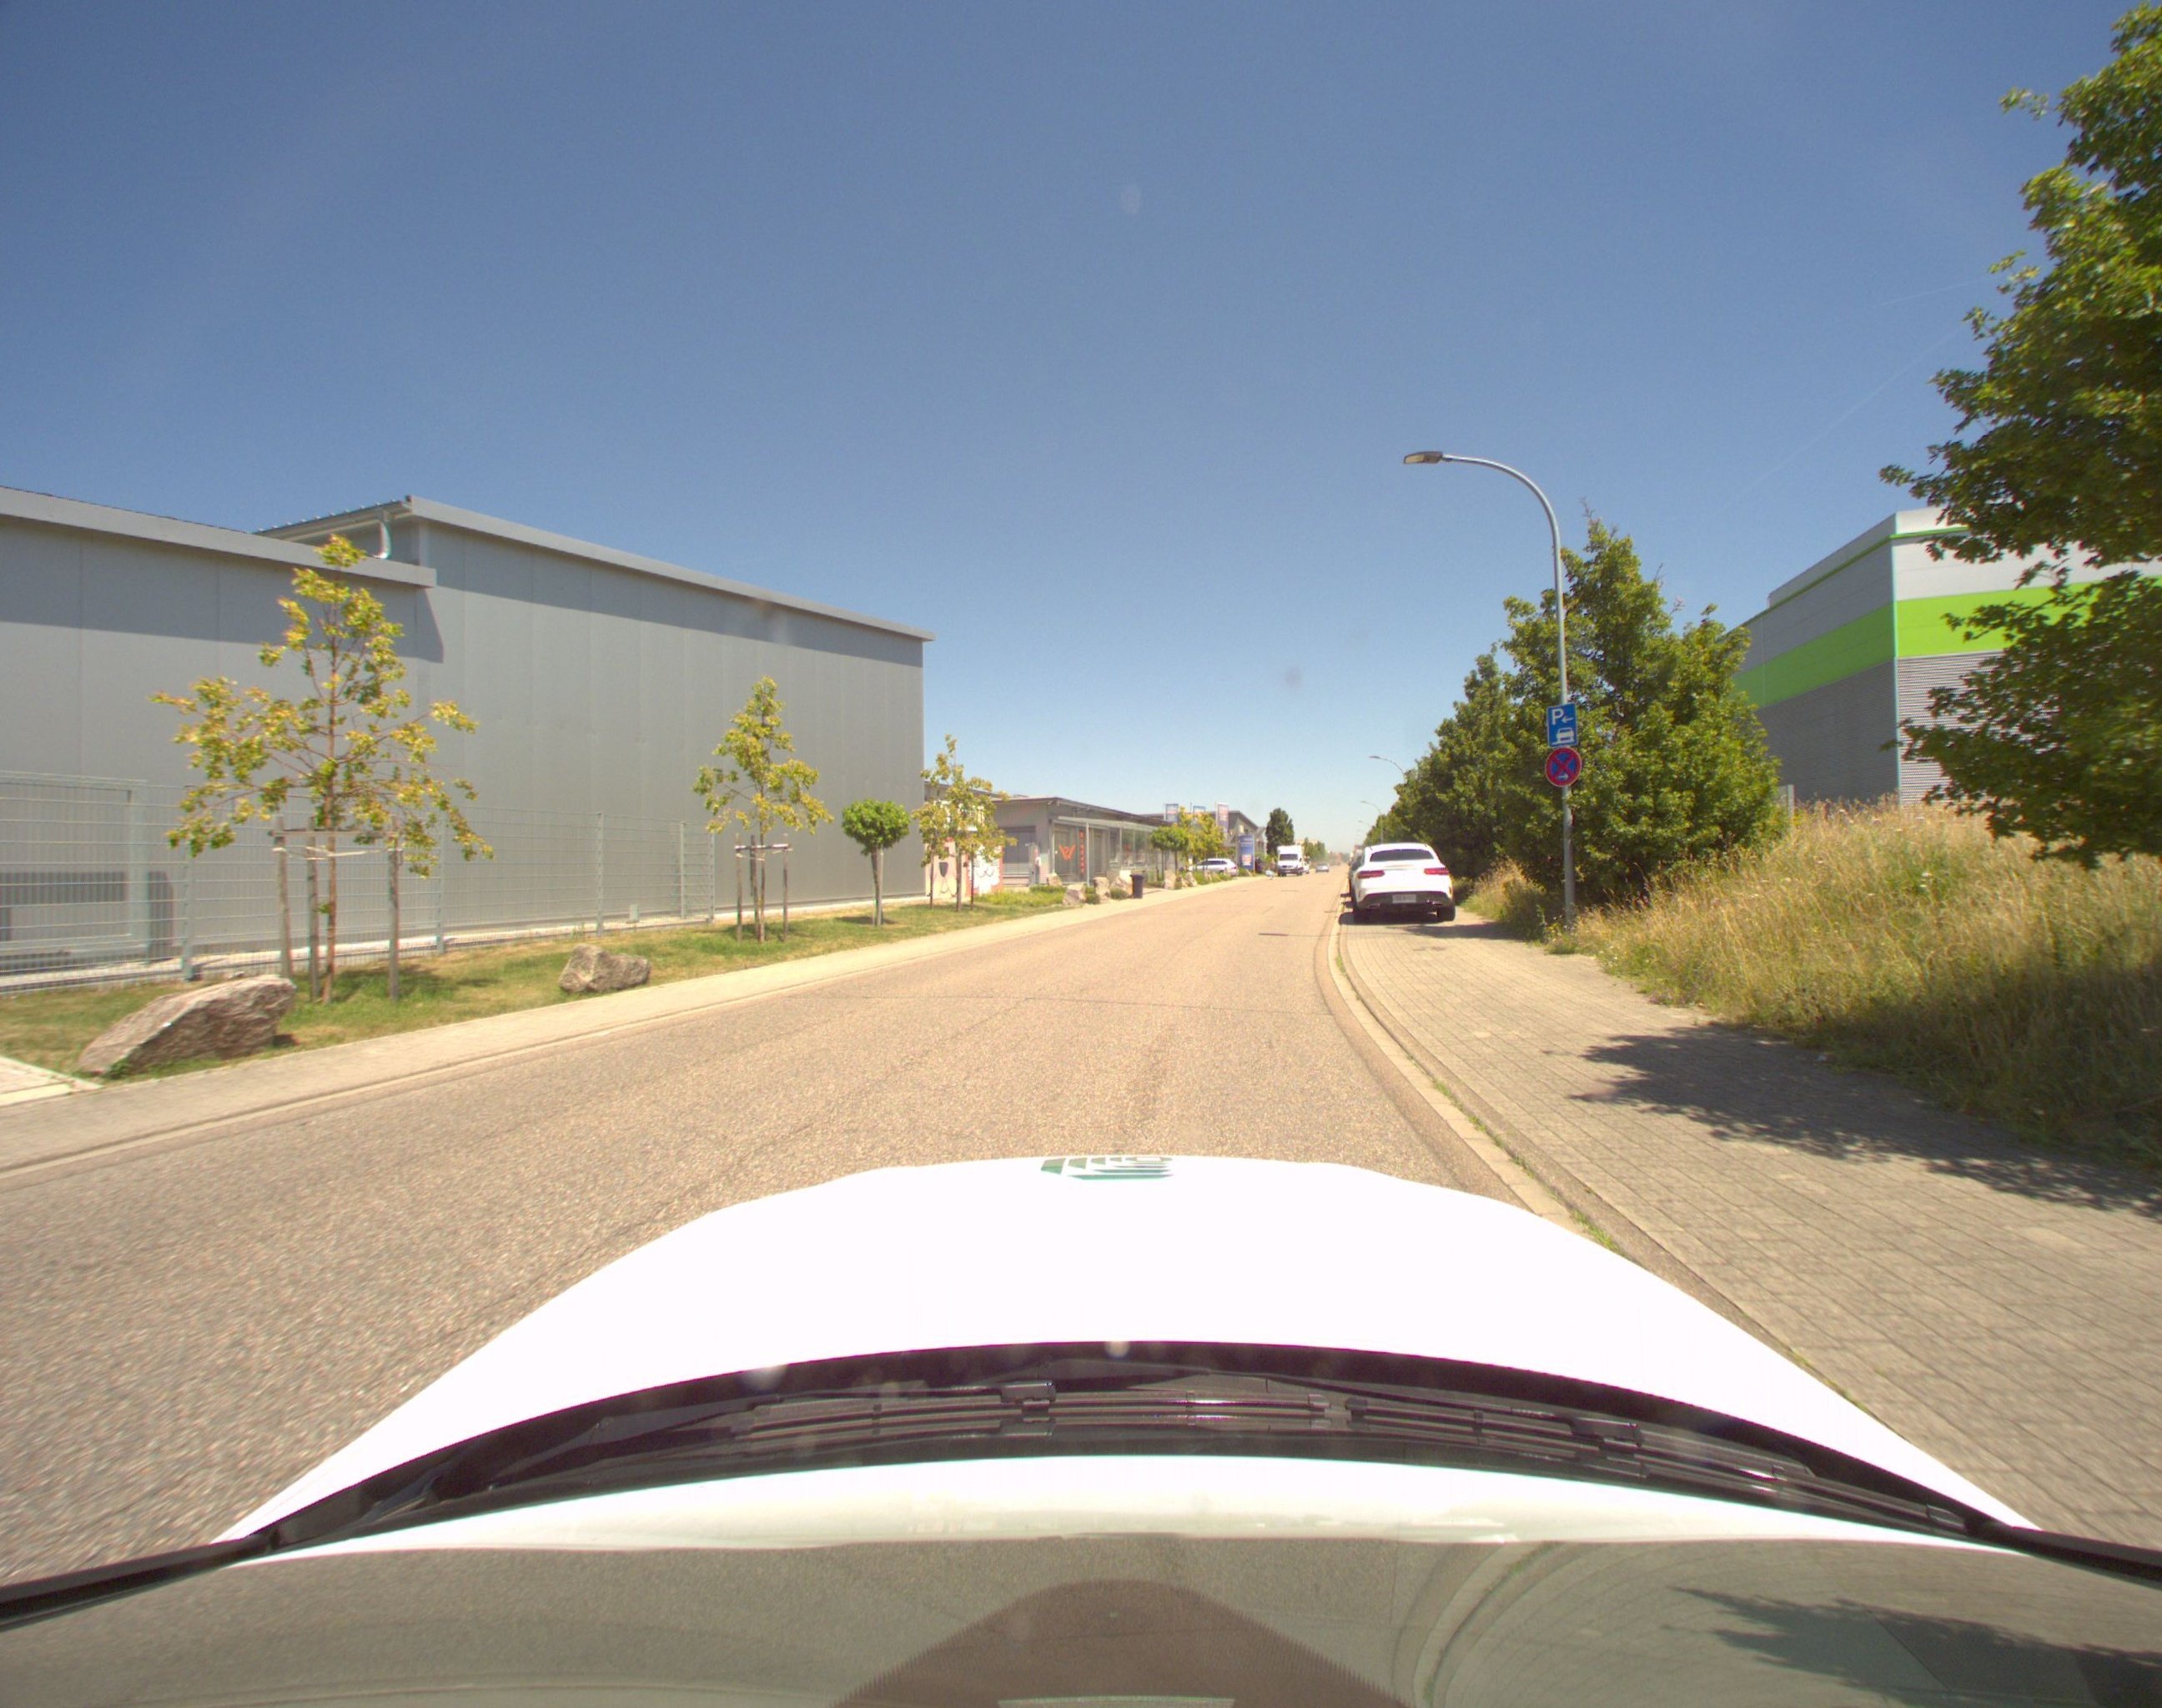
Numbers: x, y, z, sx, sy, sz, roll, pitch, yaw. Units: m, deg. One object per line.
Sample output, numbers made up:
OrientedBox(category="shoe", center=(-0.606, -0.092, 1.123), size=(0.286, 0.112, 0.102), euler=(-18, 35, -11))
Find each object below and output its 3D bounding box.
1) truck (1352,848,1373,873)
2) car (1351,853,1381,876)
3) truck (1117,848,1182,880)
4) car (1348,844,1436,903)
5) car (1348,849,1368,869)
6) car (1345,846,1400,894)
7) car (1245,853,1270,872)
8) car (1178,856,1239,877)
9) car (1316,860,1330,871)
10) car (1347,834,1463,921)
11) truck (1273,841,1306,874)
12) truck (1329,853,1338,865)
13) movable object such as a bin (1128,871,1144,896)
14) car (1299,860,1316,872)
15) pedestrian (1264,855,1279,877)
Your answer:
OrientedBox(category="truck", center=(25.819, 0.627, 74.738), size=(1.665, 2.182, 4.410), euler=(-3, -2, 18))
OrientedBox(category="car", center=(20.406, 0.759, 58.477), size=(1.701, 1.483, 4.793), euler=(-3, -1, 15))
OrientedBox(category="truck", center=(8.034, 1.153, 96.740), size=(2.601, 3.557, 7.966), euler=(1, -1, -43))
OrientedBox(category="car", center=(9.177, 0.569, 24.372), size=(1.890, 1.529, 4.648), euler=(-3, -1, 15))
OrientedBox(category="car", center=(35.736, 0.704, 105.004), size=(2.248, 2.497, 6.182), euler=(-2, -2, 20))
OrientedBox(category="car", center=(11.183, 0.603, 31.403), size=(1.790, 1.636, 4.479), euler=(-3, -1, 18))
OrientedBox(category="car", center=(18.139, 0.906, 83.403), size=(1.977, 1.956, 5.242), euler=(-1, -1, 18))
OrientedBox(category="car", center=(9.599, 0.928, 61.236), size=(4.228, 1.518, 1.874), euler=(-1, -1, 17))
OrientedBox(category="car", center=(34.038, 1.614, 114.451), size=(1.769, 1.422, 4.434), euler=(-3, -2, 18))
OrientedBox(category="car", center=(7.335, 0.523, 18.891), size=(2.126, 1.699, 4.807), euler=(-3, -1, 18))
OrientedBox(category="truck", center=(19.682, 0.359, 76.544), size=(2.342, 2.860, 6.445), euler=(-3, -2, 19))
OrientedBox(category="truck", center=(78.608, 1.540, 253.648), size=(2.429, 3.513, 8.311), euler=(-2, -1, 18))
OrientedBox(category="movable object such as a bin", center=(2.112, 1.132, 31.246), size=(0.566, 0.949, 0.514), euler=(0, -1, 13))
OrientedBox(category="car", center=(27.034, 1.452, 97.182), size=(1.716, 1.458, 4.512), euler=(-1, -1, 18))
OrientedBox(category="pedestrian", center=(13.732, 0.840, 58.702), size=(0.891, 1.574, 0.789), euler=(1, 0, 19))
